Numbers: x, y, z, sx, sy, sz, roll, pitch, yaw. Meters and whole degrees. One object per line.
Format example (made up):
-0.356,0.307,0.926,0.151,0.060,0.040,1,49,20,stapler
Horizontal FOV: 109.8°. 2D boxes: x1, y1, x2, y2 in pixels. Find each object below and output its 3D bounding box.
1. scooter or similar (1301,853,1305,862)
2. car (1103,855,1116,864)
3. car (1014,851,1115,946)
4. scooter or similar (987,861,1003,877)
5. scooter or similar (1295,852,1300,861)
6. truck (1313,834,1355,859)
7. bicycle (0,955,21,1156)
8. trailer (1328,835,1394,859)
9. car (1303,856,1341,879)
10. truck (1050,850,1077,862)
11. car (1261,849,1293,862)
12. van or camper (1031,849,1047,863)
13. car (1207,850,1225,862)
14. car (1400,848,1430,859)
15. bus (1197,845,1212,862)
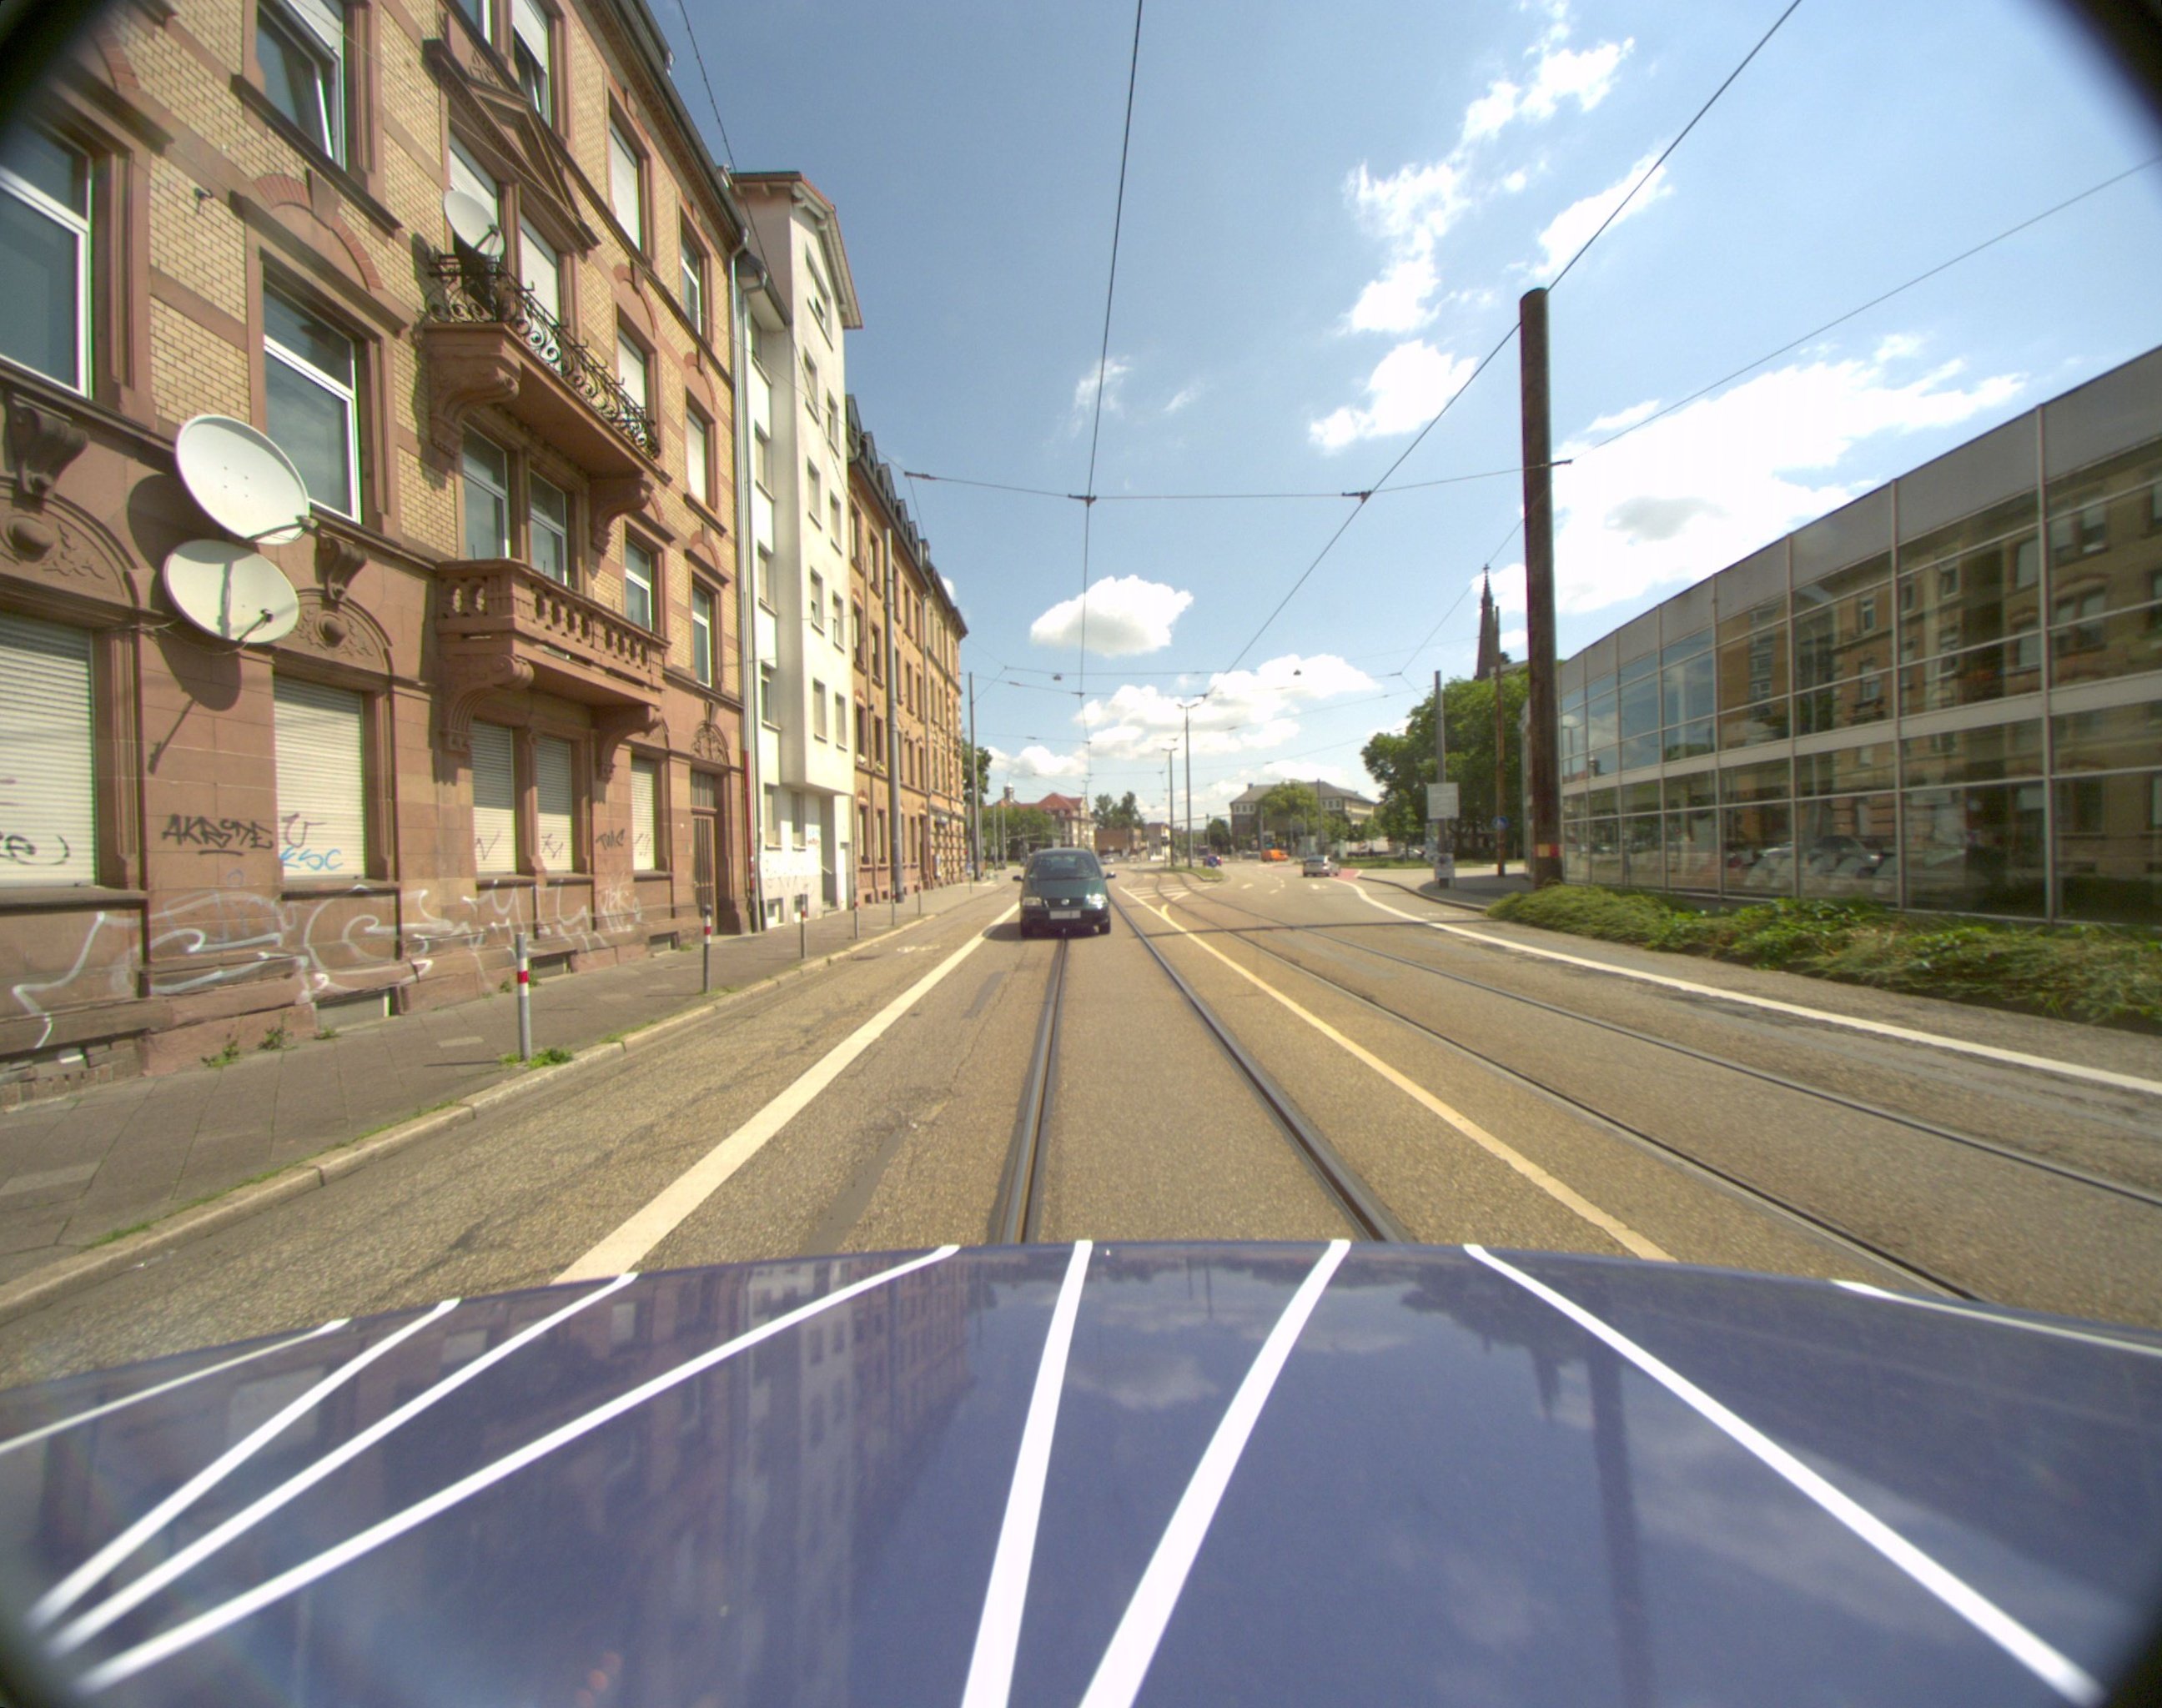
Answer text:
28.086,0.405,96.148,0.416,1.118,0.556,-1,0,-1,scooter or similar
5.590,1.071,148.620,1.772,1.594,4.490,0,0,-8,car
-0.303,0.818,16.014,1.819,1.707,4.085,-1,0,0,car
-6.496,1.150,57.517,0.949,1.173,1.086,0,1,6,scooter or similar
27.353,0.341,95.890,0.462,1.193,0.549,-1,0,-1,scooter or similar
43.312,-1.268,129.777,6.889,4.094,2.957,-1,0,-30,truck
-6.672,1.196,3.448,0.588,1.171,2.205,-1,0,1,bicycle
49.232,-1.310,133.296,13.440,4.052,2.942,-1,0,-31,trailer
15.846,0.875,49.875,1.816,1.412,4.195,0,0,25,car
-4.882,0.518,213.309,3.347,2.981,8.751,-1,1,32,truck
28.448,0.190,110.272,4.374,1.855,1.912,0,0,-31,car
-8.185,0.434,148.035,2.234,2.719,5.516,-1,-1,-12,van or camper
16.841,0.237,94.959,1.706,1.420,3.902,0,0,2,car
52.578,-0.146,119.832,4.164,1.633,1.632,-1,0,18,car
26.467,-0.058,162.390,2.947,3.427,7.954,-1,0,11,bus
